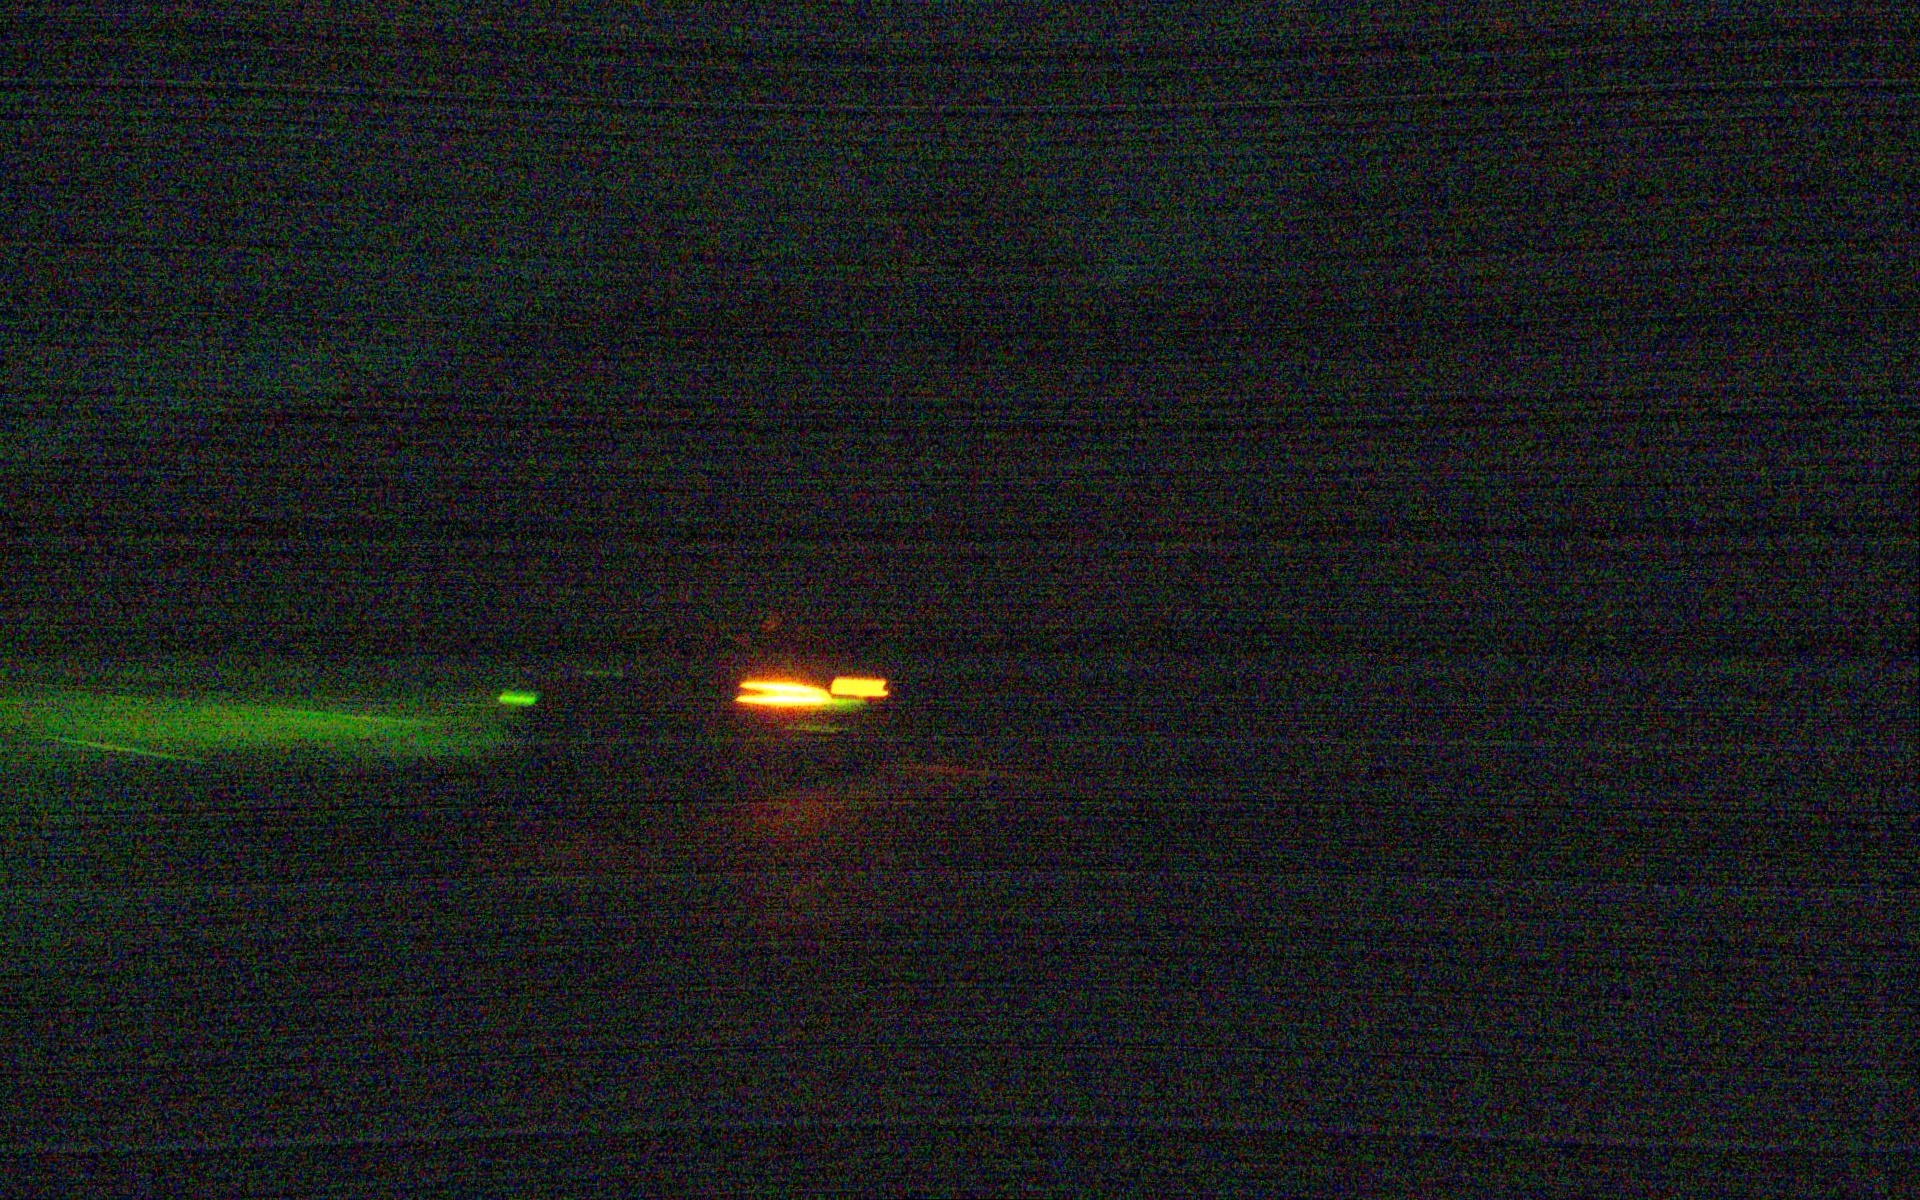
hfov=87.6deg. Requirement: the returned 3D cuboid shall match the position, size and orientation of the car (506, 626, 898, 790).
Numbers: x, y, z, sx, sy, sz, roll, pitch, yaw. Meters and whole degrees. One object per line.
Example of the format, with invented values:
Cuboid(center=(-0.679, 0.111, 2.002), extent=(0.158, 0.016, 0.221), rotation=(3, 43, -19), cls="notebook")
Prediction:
Cuboid(center=(-2.904, 1.054, 11.010), extent=(4.187, 1.485, 1.818), rotation=(-1, -2, 32), cls="car")
